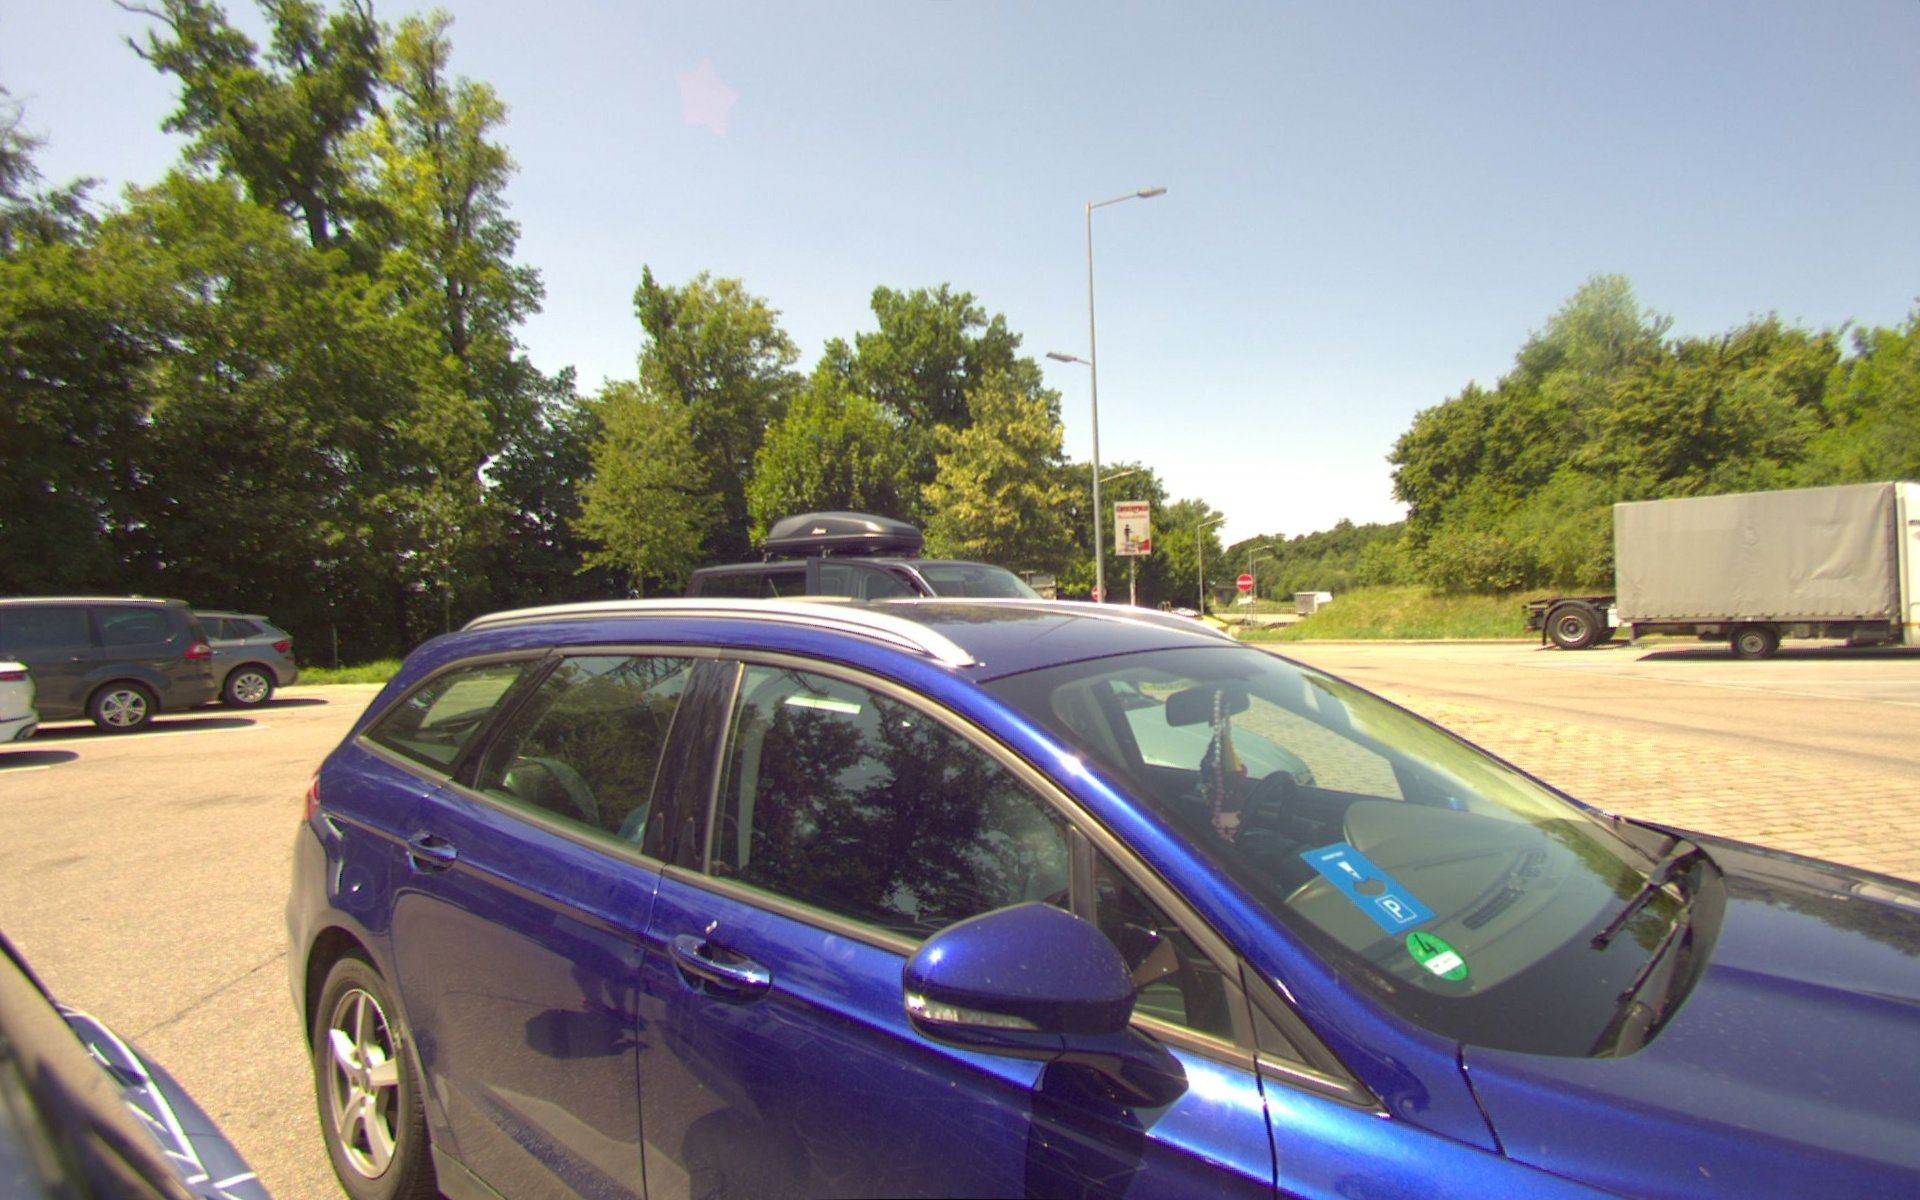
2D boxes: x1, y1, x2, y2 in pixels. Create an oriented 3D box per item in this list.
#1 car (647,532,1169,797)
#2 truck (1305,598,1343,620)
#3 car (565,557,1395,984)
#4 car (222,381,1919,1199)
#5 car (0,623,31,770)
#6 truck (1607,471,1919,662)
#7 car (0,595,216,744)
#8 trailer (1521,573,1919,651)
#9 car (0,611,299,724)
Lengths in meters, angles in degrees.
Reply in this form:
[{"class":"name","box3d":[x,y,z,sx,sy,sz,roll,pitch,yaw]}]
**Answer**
[{"class":"car","box3d":[-0.649,0.515,9.367,4.635,1.884,1.937,-2,0,37]},{"class":"truck","box3d":[50.463,1.221,140.450,2.427,2.980,5.849,-1,0,-8]},{"class":"car","box3d":[-0.205,0.676,5.793,4.637,1.545,1.720,-2,0,39]},{"class":"car","box3d":[0.257,0.638,2.081,4.637,1.493,1.720,-2,-1,39]},{"class":"car","box3d":[-10.986,0.938,9.166,3.767,1.396,1.722,0,-1,-43]},{"class":"truck","box3d":[16.718,-0.597,18.941,7.337,3.235,2.502,-4,-1,41]},{"class":"car","box3d":[-11.644,0.828,12.630,3.762,1.737,1.724,0,-1,-38]},{"class":"trailer","box3d":[17.646,0.316,23.163,8.088,1.385,2.200,-4,-1,41]},{"class":"car","box3d":[-12.583,0.962,15.711,3.762,1.551,1.724,0,-1,-38]}]
